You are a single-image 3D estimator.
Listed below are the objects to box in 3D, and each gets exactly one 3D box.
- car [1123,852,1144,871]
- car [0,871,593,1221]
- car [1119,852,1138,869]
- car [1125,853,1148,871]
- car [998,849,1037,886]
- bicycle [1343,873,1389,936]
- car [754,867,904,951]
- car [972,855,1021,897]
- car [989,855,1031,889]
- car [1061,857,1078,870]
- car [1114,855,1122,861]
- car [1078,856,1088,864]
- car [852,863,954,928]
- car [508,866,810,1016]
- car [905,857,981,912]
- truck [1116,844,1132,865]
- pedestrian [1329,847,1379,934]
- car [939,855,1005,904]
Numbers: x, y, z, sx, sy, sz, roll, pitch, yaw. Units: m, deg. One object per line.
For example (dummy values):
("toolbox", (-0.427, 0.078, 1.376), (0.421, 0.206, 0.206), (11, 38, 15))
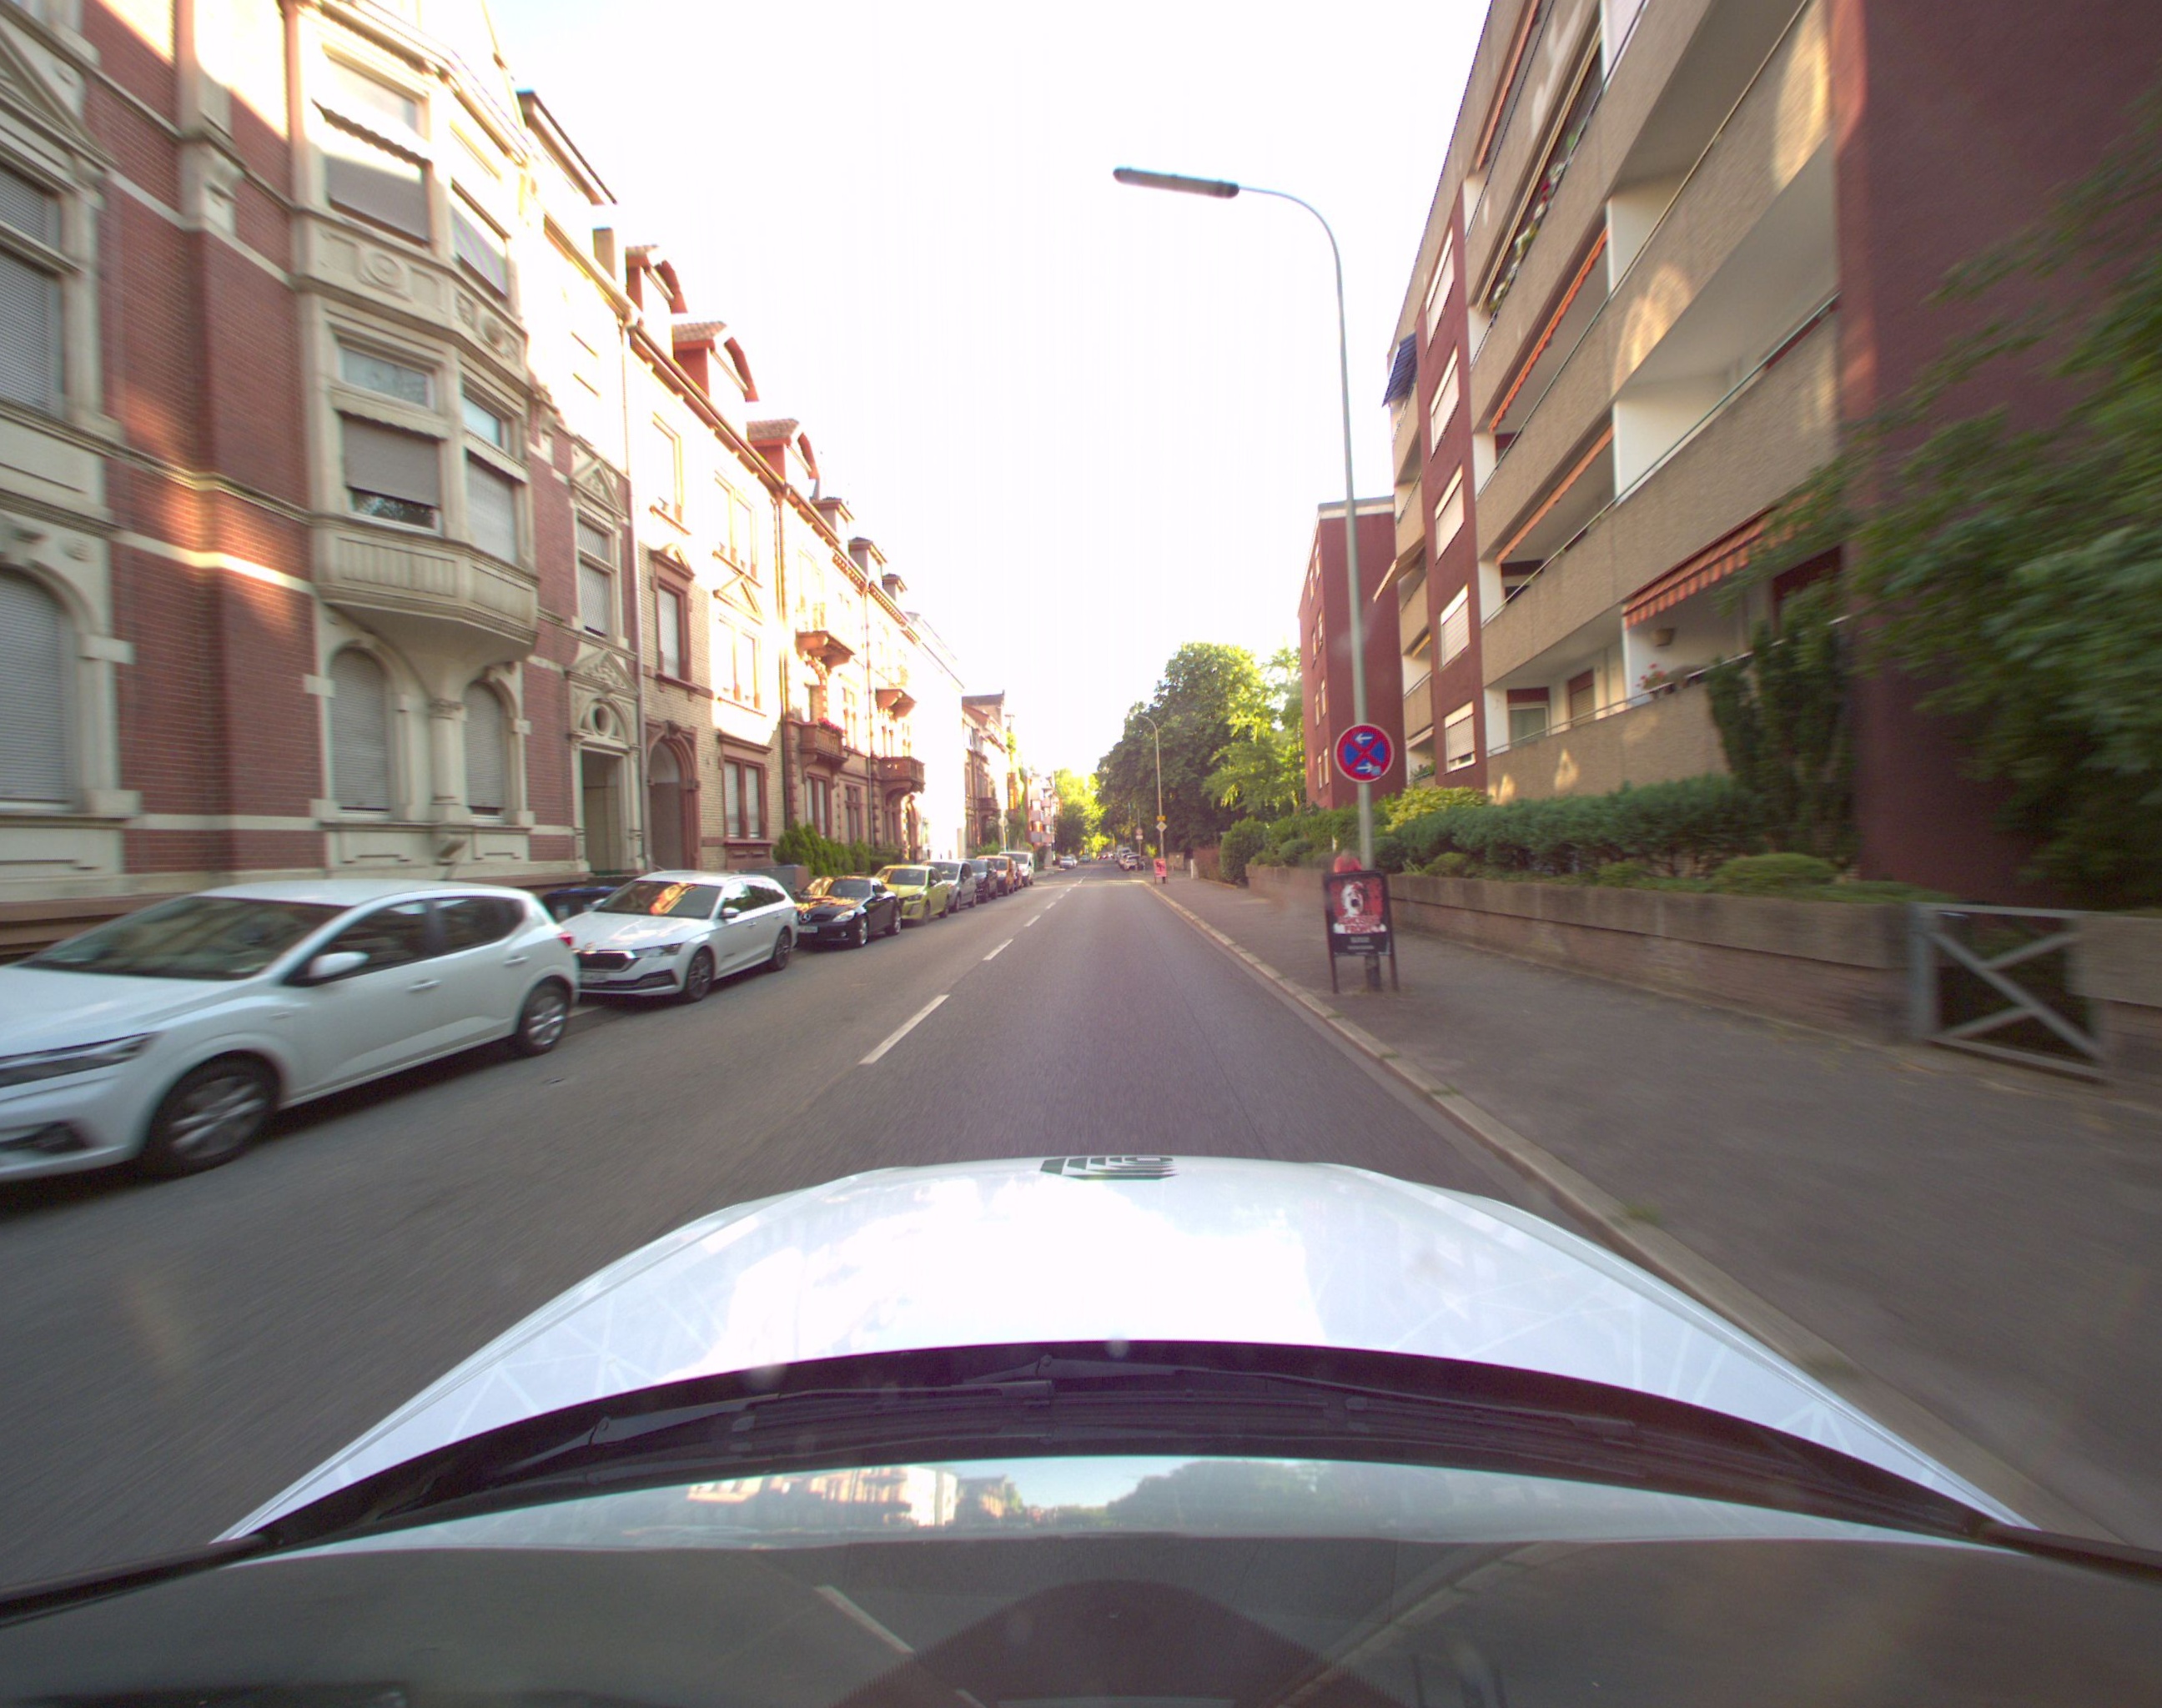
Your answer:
("car", (5.245, 0.752, 81.317), (1.985, 1.737, 4.004), (-3, 1, 3))
("car", (-5.525, 0.927, 5.730), (1.697, 1.503, 4.021), (-1, 0, 1))
("car", (5.344, 0.719, 91.947), (1.985, 1.737, 4.004), (-3, 1, 3))
("car", (5.174, 0.697, 75.758), (1.985, 1.517, 4.004), (-3, 1, 3))
("car", (-3.601, 0.731, 46.923), (1.787, 2.010, 4.698), (-1, 0, 1))
("bicycle", (4.564, 0.799, 13.069), (0.564, 0.970, 0.492), (-1, 1, -1))
("car", (-4.808, 0.990, 16.091), (1.697, 1.366, 3.860), (-1, 0, 1))
("car", (-3.695, 0.910, 36.047), (1.697, 1.738, 3.857), (-1, 0, 1))
("car", (-3.562, 0.886, 41.451), (1.697, 1.619, 4.118), (-1, 0, 1))
("car", (-1.473, 1.218, 108.047), (1.986, 1.491, 4.472), (-3, 1, 2))
("car", (10.230, 1.054, 225.868), (1.988, 1.491, 4.468), (-3, 1, -1))
("car", (0.463, 1.286, 174.850), (1.986, 1.491, 4.472), (-3, 1, 2))
("car", (-4.507, 1.014, 21.166), (1.697, 1.503, 4.072), (-1, -1, 1))
("car", (-5.345, 0.979, 11.137), (1.697, 1.536, 4.549), (-1, 0, 1))
("car", (-4.331, 0.916, 26.094), (1.696, 1.584, 3.636), (-1, 0, 2))
("truck", (6.119, 0.009, 116.817), (1.986, 2.896, 4.472), (-3, 1, 1))
("pedestrian", (4.576, 0.596, 13.673), (0.596, 1.403, 0.668), (-1, 1, 0))
("car", (-4.096, 0.897, 31.234), (1.695, 1.707, 4.443), (-1, 0, 3))
